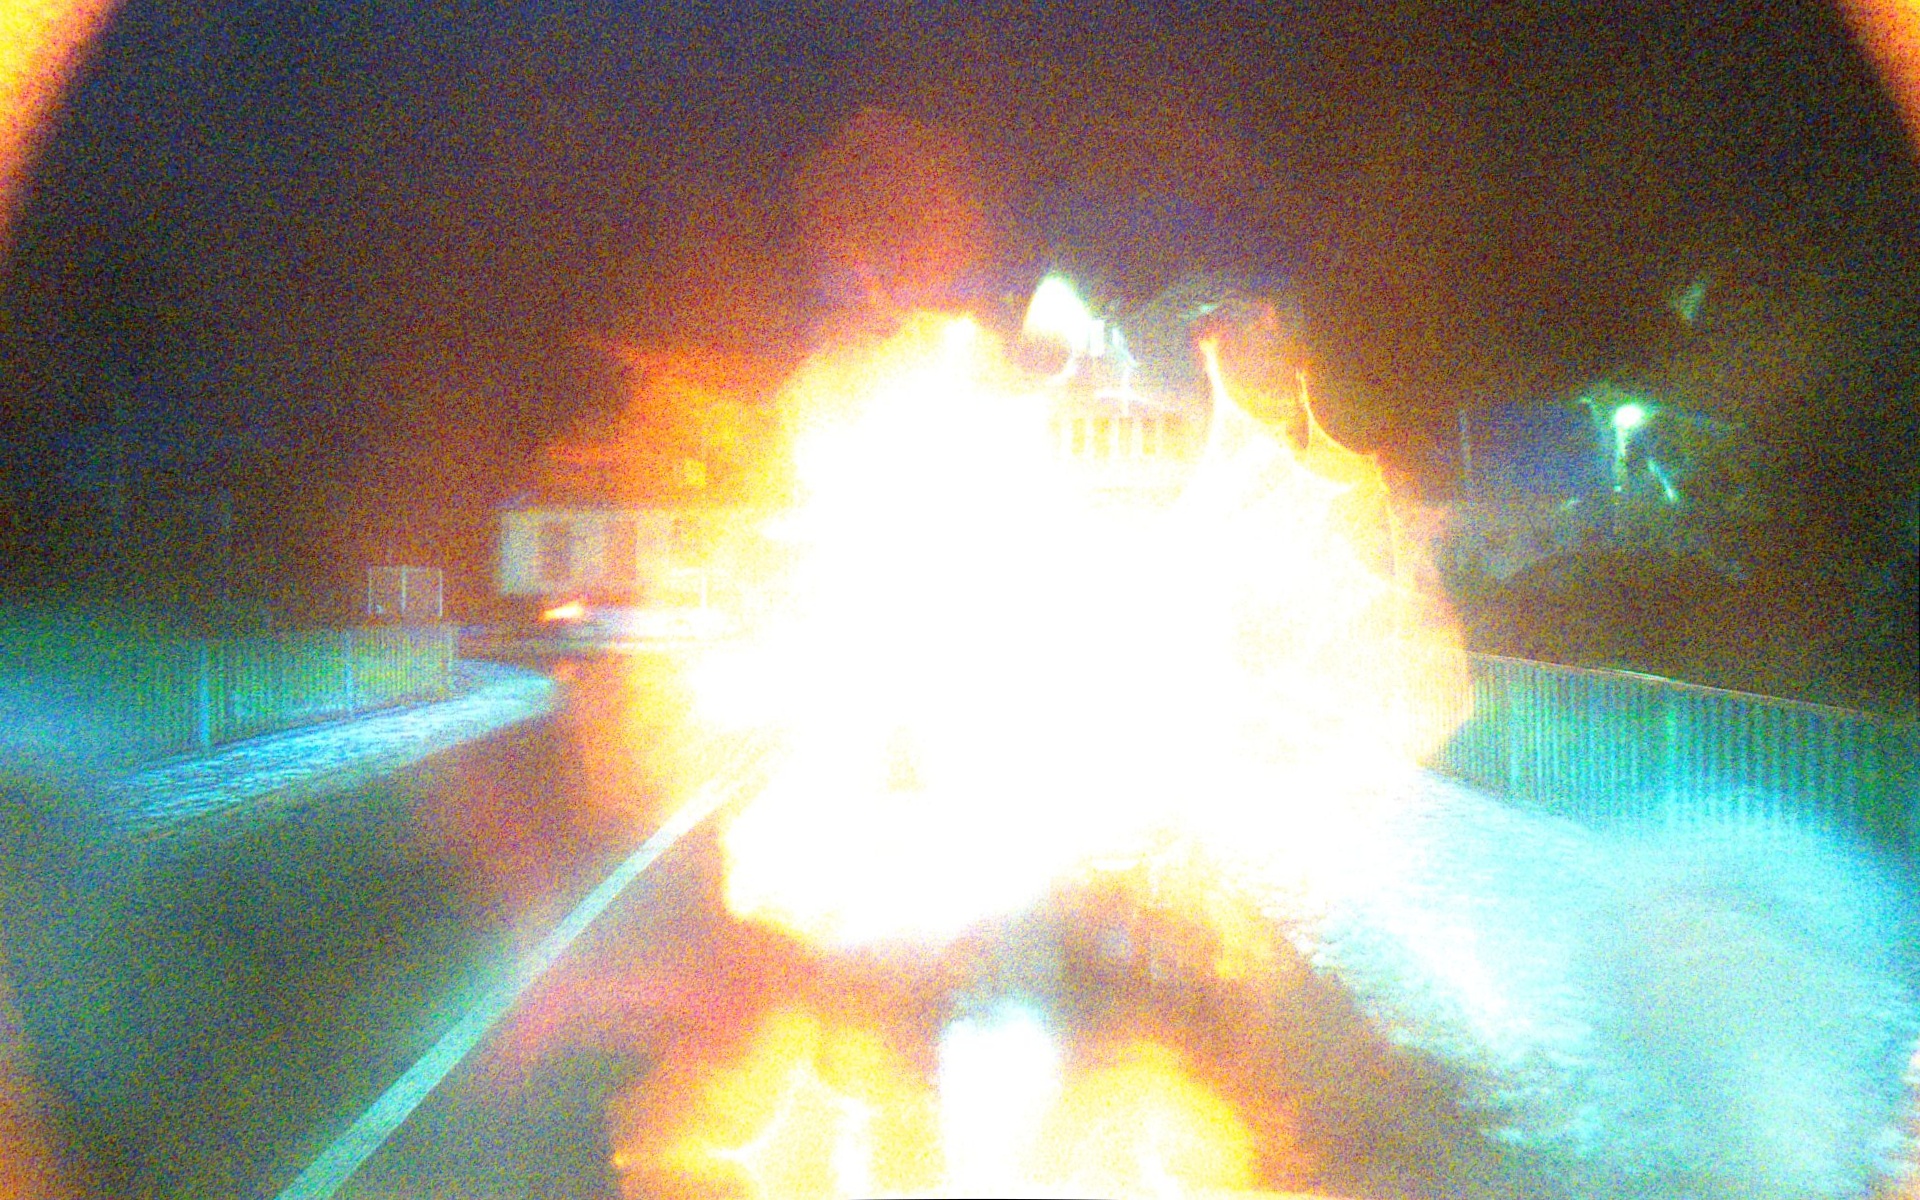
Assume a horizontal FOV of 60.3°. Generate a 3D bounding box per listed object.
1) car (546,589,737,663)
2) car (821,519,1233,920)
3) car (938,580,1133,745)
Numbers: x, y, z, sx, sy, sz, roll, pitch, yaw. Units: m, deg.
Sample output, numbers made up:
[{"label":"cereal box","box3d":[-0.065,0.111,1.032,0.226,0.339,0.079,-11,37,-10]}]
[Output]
[{"label":"car","box3d":[-8.515,0.717,44.393,4.586,1.824,2.001,-2,-2,9]},{"label":"car","box3d":[0.320,0.474,9.015,1.754,1.710,3.905,0,1,1]},{"label":"car","box3d":[0.771,0.529,16.531,1.707,1.440,4.002,0,1,3]}]
